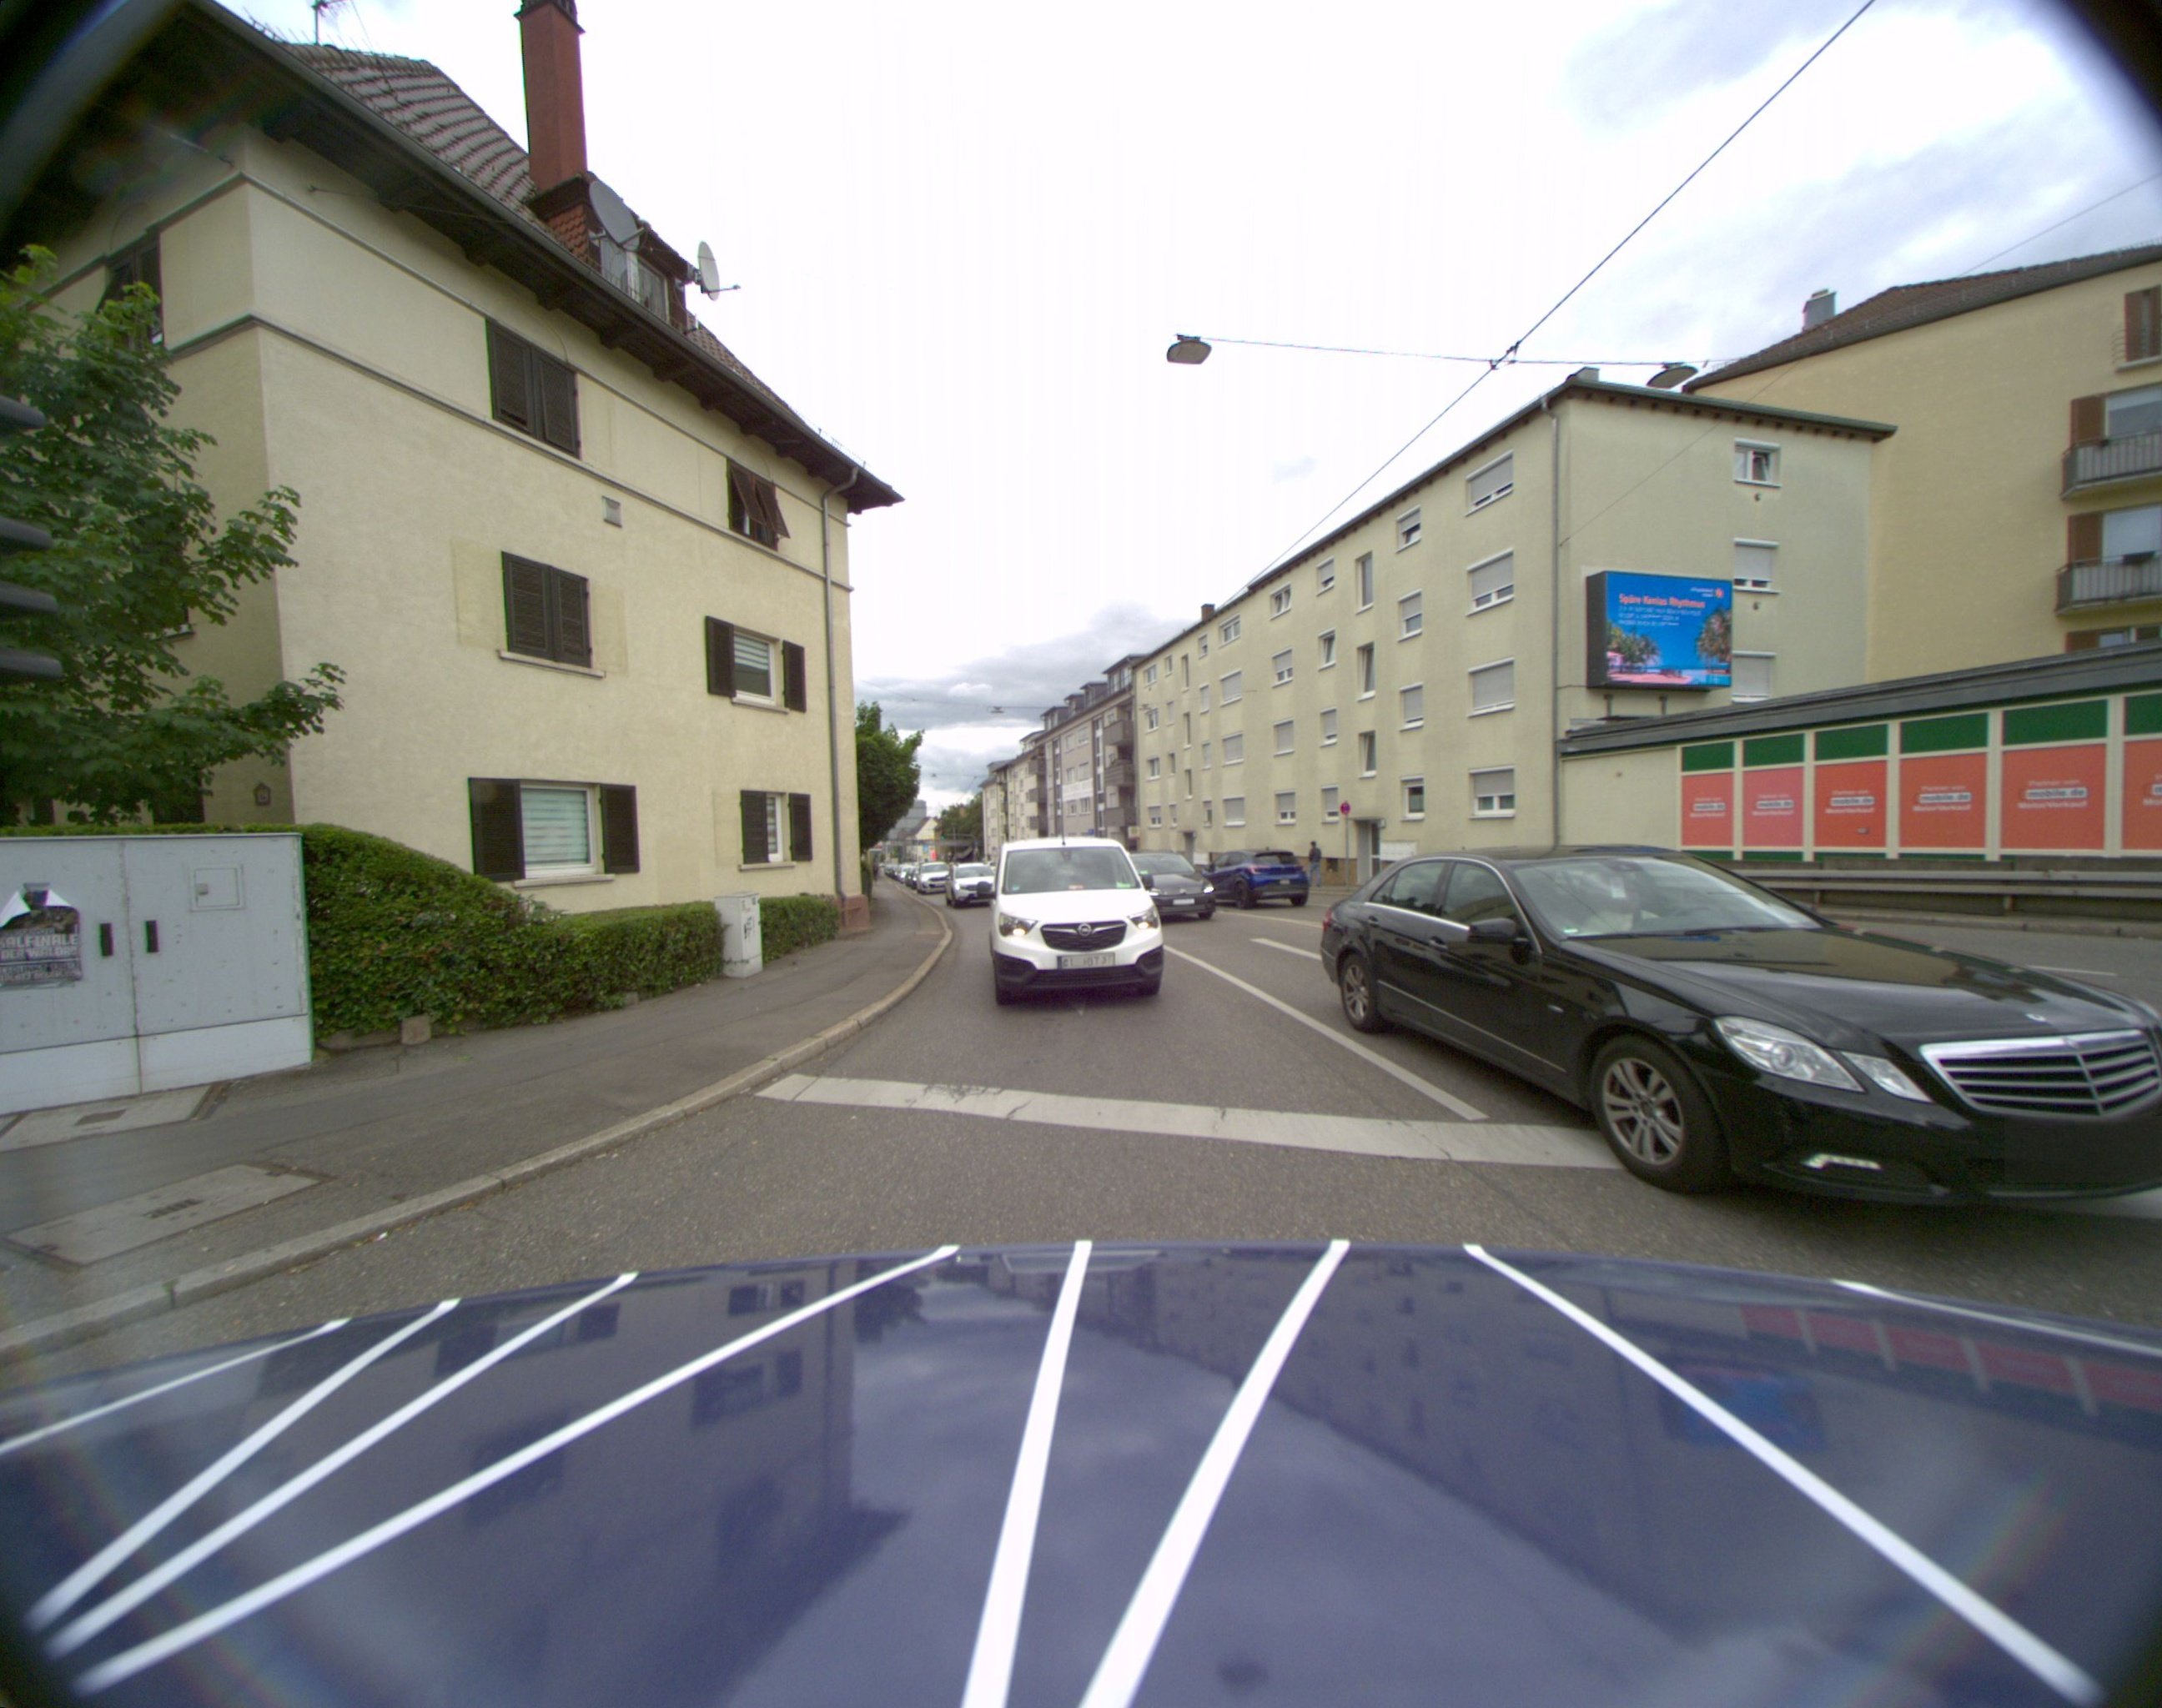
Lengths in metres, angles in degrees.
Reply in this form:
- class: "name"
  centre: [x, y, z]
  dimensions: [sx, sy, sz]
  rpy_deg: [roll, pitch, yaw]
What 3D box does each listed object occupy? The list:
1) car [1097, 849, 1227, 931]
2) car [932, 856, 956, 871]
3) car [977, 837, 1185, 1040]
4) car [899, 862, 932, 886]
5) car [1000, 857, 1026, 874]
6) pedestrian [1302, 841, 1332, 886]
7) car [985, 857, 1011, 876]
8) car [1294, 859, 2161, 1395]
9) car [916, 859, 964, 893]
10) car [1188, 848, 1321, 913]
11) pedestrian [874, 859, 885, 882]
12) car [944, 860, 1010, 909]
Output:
- class: "car"
  centre: [1.762, 0.735, 18.086]
  dimensions: [1.864, 1.601, 4.475]
  rpy_deg: [-4, 1, -9]
- class: "car"
  centre: [-14.055, 0.947, 77.557]
  dimensions: [1.884, 1.347, 4.140]
  rpy_deg: [-4, 1, -17]
- class: "car"
  centre: [-0.242, 0.755, 9.449]
  dimensions: [1.863, 1.772, 4.708]
  rpy_deg: [-4, 1, -6]
- class: "car"
  centre: [-11.618, 1.366, 53.155]
  dimensions: [1.902, 1.572, 3.995]
  rpy_deg: [-1, -1, -17]
- class: "car"
  centre: [-6.655, 1.100, 74.414]
  dimensions: [1.778, 1.591, 3.535]
  rpy_deg: [-1, 0, -18]
- class: "pedestrian"
  centre: [8.785, 0.340, 28.339]
  dimensions: [0.690, 1.627, 0.778]
  rpy_deg: [-3, 1, -16]
- class: "car"
  centre: [-6.794, 0.976, 61.780]
  dimensions: [1.603, 1.439, 3.526]
  rpy_deg: [-1, 0, -14]
- class: "car"
  centre: [3.197, 0.811, 4.692]
  dimensions: [1.999, 1.420, 4.840]
  rpy_deg: [-3, 0, -5]
- class: "car"
  centre: [-7.602, 1.155, 40.630]
  dimensions: [1.902, 1.635, 3.994]
  rpy_deg: [-3, 0, -18]
- class: "car"
  centre: [4.602, 0.669, 20.787]
  dimensions: [1.794, 1.522, 4.030]
  rpy_deg: [-3, 0, -15]
- class: "pedestrian"
  centre: [-16.008, 1.313, 60.356]
  dimensions: [0.648, 1.830, 0.591]
  rpy_deg: [-3, 1, -27]
- class: "car"
  centre: [-3.846, 1.039, 27.545]
  dimensions: [1.901, 1.501, 4.162]
  rpy_deg: [-4, 1, -13]
